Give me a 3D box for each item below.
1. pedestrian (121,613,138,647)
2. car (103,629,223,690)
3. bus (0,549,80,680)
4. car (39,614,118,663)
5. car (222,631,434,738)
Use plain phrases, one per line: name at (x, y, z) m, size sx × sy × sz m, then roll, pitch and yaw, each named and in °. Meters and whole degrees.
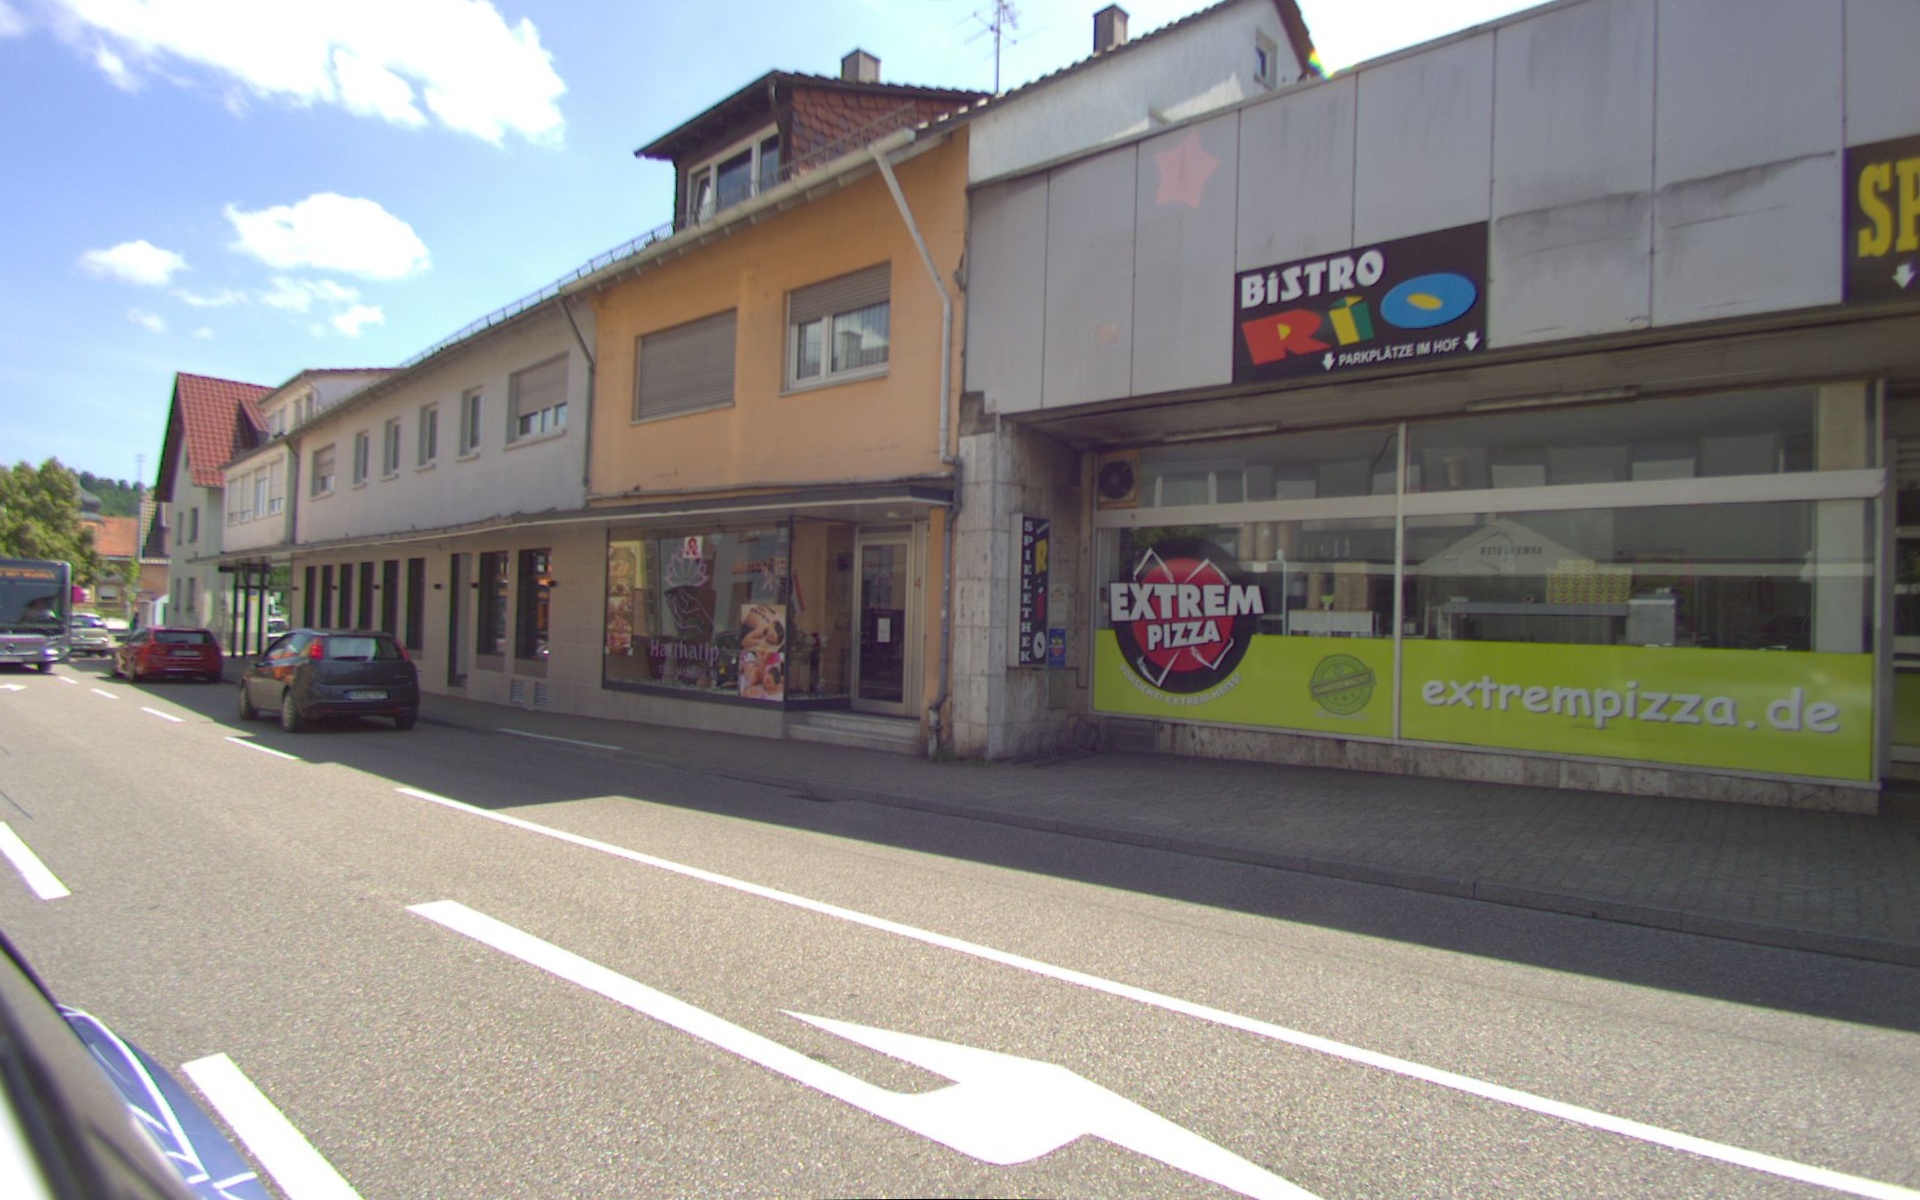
pedestrian at (-43.773, 1.571, 53.328) m, size 0.475 × 1.777 × 0.468 m, roll 1°, pitch -2°, yaw 21°
car at (-20.345, 1.500, 25.784) m, size 4.284 × 1.419 × 1.698 m, roll -2°, pitch -6°, yaw 43°
bus at (-31.011, 0.530, 31.251) m, size 19.016 × 3.229 × 2.823 m, roll -1°, pitch -2°, yaw 40°
car at (-32.409, 1.435, 37.170) m, size 3.821 × 1.629 × 1.661 m, roll -2°, pitch -7°, yaw 43°
car at (-9.747, 1.243, 15.503) m, size 3.819 × 1.434 × 1.699 m, roll -2°, pitch -5°, yaw 42°
